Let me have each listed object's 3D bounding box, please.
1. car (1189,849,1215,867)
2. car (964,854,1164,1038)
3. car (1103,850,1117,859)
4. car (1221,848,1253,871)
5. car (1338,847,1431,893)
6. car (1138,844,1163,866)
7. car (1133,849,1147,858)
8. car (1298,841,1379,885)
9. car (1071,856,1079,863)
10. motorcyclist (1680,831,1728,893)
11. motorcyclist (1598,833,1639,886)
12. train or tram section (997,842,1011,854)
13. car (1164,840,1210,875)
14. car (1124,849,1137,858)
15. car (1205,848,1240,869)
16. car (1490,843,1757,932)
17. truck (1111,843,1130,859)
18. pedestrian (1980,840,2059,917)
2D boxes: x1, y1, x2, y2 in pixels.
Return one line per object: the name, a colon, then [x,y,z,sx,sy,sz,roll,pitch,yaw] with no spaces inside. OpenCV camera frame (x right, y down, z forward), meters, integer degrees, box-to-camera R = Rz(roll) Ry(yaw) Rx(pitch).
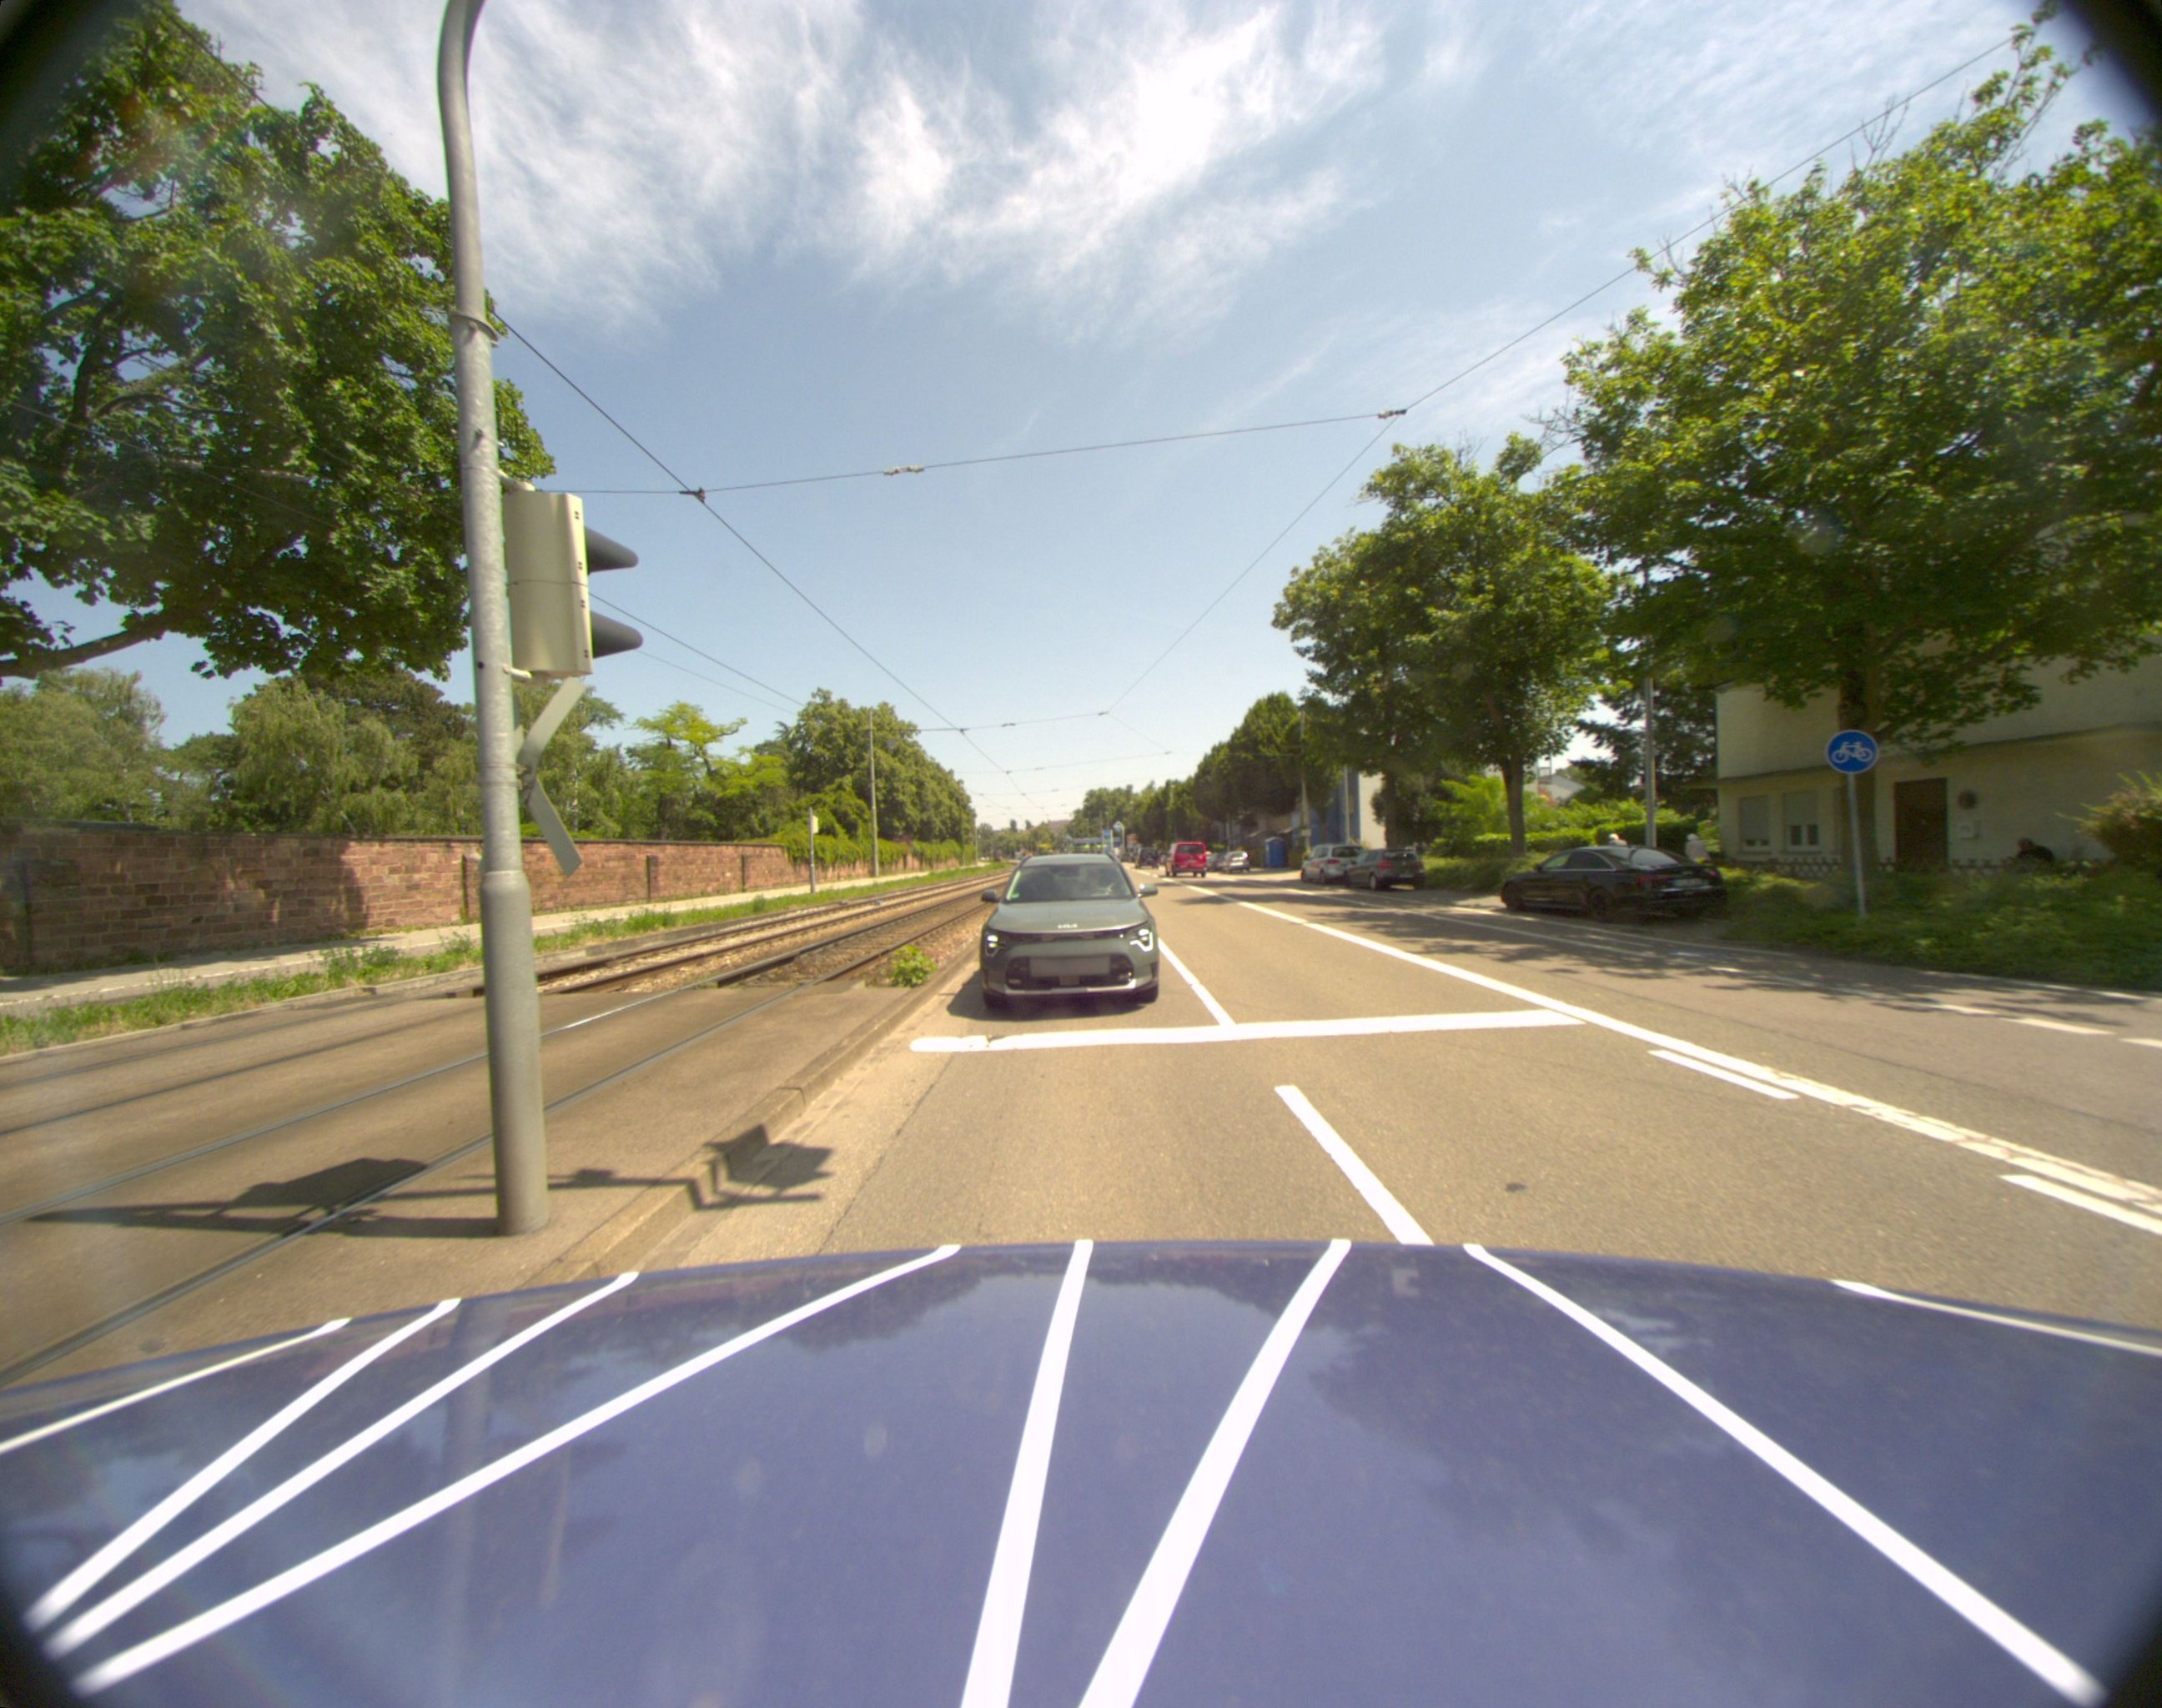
car: [11.058,0.323,69.790,1.656,1.487,3.649,-5,1,-1]
car: [-0.146,0.847,9.166,1.759,1.574,4.426,-3,0,0]
car: [5.590,0.051,146.477,1.866,1.487,3.468,-5,1,-8]
car: [11.193,0.356,54.683,1.505,1.487,3.281,-6,1,-1]
car: [10.882,0.517,27.549,1.680,1.478,4.127,-3,0,0]
car: [6.354,0.073,70.119,1.923,1.899,4.570,0,0,0]
car: [9.335,-0.083,119.929,1.865,1.487,3.470,-1,0,-1]
car: [10.995,0.343,32.850,1.975,1.679,4.687,-3,0,2]
car: [-1.471,1.423,190.551,1.865,1.487,3.470,-5,1,-1]
motorcyclist: [15.802,0.195,19.292,0.587,1.494,0.662,-4,1,2]
motorcyclist: [15.790,0.170,22.339,0.587,1.494,0.725,-4,1,2]
train or tram section: [-24.833,-2.032,246.057,2.813,3.785,14.259,-3,1,0]
car: [6.025,0.192,43.685,1.904,1.915,4.819,0,0,-1]
car: [8.301,-0.118,128.646,1.865,1.487,3.470,-1,0,-1]
car: [11.091,0.328,59.927,1.680,1.487,4.638,-5,0,-1]
car: [10.779,0.571,15.673,1.899,1.448,4.808,-3,0,-2]
truck: [6.944,-0.564,134.594,2.135,2.565,4.860,-5,1,-8]
pedestrian: [18.759,0.475,15.197,0.795,1.502,0.608,-1,1,7]
